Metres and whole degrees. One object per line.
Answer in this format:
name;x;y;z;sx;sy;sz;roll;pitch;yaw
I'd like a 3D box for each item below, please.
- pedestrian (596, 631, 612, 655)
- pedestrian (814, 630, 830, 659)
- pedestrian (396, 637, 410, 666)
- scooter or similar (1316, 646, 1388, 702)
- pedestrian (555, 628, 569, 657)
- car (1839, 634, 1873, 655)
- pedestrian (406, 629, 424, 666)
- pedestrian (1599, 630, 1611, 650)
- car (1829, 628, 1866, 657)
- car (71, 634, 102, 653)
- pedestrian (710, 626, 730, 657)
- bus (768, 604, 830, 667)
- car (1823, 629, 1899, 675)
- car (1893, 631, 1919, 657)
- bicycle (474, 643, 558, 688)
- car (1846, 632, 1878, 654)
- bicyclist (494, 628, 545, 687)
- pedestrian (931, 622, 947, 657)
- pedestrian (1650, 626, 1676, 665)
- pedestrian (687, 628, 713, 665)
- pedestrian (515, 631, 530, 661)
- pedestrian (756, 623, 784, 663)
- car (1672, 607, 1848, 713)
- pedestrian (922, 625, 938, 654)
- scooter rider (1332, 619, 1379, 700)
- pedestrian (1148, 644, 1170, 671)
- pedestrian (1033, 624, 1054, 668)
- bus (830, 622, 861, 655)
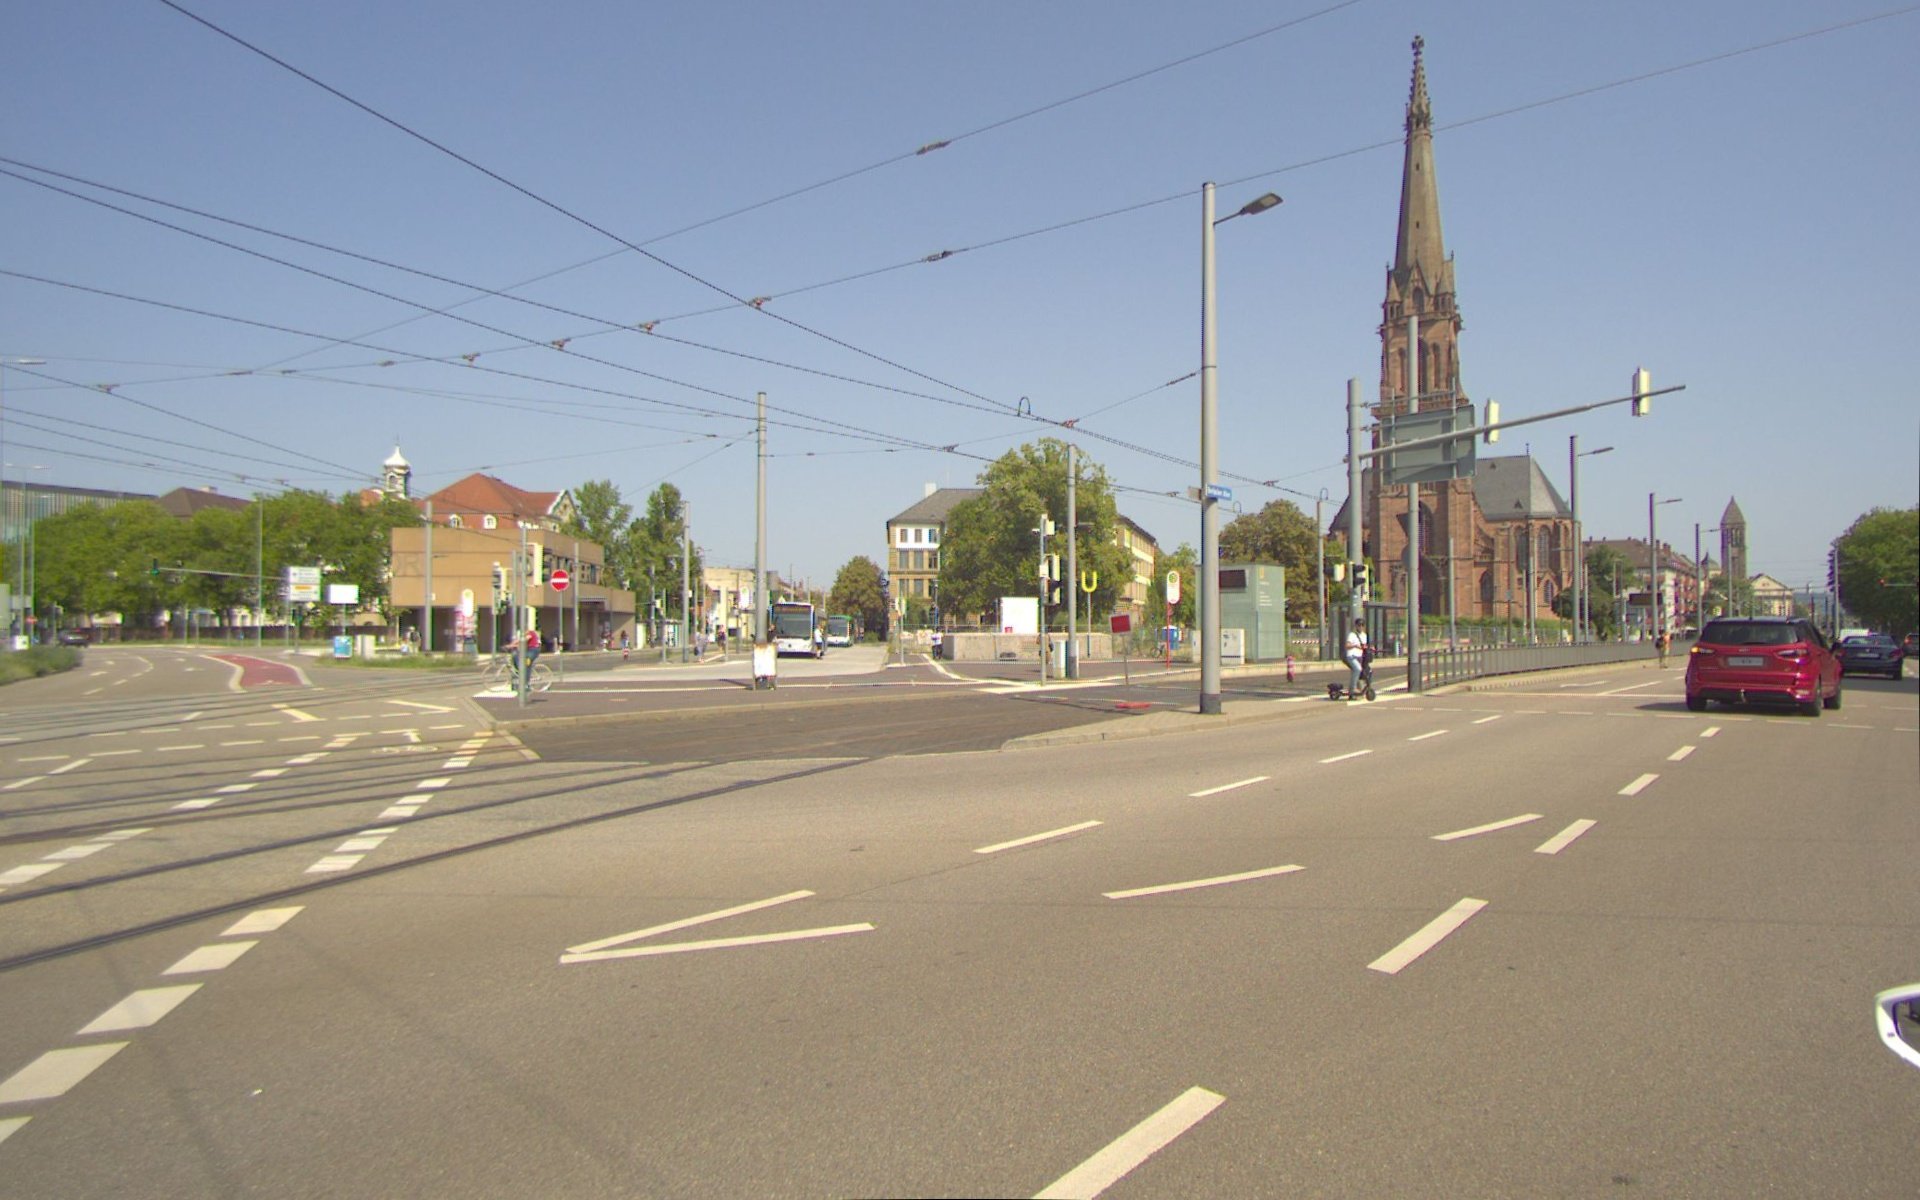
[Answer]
pedestrian;-25.646;3.110;72.369;0.780;1.702;0.855;-1;0;-1
pedestrian;-7.525;2.438;54.775;0.589;1.548;0.576;-1;-3;29
pedestrian;-27.800;2.566;50.131;0.342;1.393;0.462;-1;-2;17
scooter or similar;8.569;1.596;21.978;1.322;1.163;0.706;-2;-2;40
pedestrian;-23.770;2.523;59.982;0.505;1.667;0.567;-1;0;45
car;64.479;3.217;72.322;1.769;1.492;3.981;-1;-3;41
pedestrian;-27.611;2.389;50.880;0.549;1.840;0.561;-1;-2;17
pedestrian;57.148;3.554;89.011;0.820;1.774;0.716;-2;-3;43
car;58.363;2.798;66.095;1.769;1.803;3.981;-1;-3;41
car;-82.793;4.113;95.199;1.886;1.674;4.608;1;-2;-37
pedestrian;-14.185;2.459;59.358;0.780;1.803;0.948;3;-3;-41
bus;-9.589;2.154;61.100;2.626;3.374;12.753;0;-2;-4
car;29.887;1.679;33.325;1.771;1.450;3.978;-2;-2;42
car;64.251;2.957;67.721;1.769;1.699;3.981;-1;-3;41
bicycle;-11.385;1.662;25.798;1.900;1.083;0.607;1;-2;-44
car;70.699;3.387;78.758;1.769;1.720;3.981;-1;-3;41
bicyclist;-11.338;1.453;25.860;0.973;1.478;0.866;1;-2;-44
pedestrian;-1.091;2.035;51.908;0.770;1.751;0.678;0;-2;-8
pedestrian;32.074;2.084;45.809;1.061;1.774;0.754;2;-3;-43
pedestrian;-12.731;2.266;49.217;0.775;1.803;0.953;-2;-3;45
pedestrian;-25.083;2.625;57.652;0.567;1.698;0.587;-1;0;-1
pedestrian;-8.488;1.926;44.921;0.775;1.803;0.953;-2;-3;45
car;14.081;1.053;17.601;4.052;1.639;1.747;4;-4;-42
pedestrian;-1.615;2.121;54.008;0.770;1.569;0.678;1;-2;-8
scooter rider;8.635;1.304;21.934;0.762;1.694;0.776;-1;-6;39
pedestrian;11.443;3.309;57.783;0.603;1.505;1.695;0;-2;-12
pedestrian;3.231;1.763;38.780;0.563;1.681;0.800;-1;0;24
bus;-11.966;3.990;106.107;2.493;3.072;12.430;-1;0;-3
